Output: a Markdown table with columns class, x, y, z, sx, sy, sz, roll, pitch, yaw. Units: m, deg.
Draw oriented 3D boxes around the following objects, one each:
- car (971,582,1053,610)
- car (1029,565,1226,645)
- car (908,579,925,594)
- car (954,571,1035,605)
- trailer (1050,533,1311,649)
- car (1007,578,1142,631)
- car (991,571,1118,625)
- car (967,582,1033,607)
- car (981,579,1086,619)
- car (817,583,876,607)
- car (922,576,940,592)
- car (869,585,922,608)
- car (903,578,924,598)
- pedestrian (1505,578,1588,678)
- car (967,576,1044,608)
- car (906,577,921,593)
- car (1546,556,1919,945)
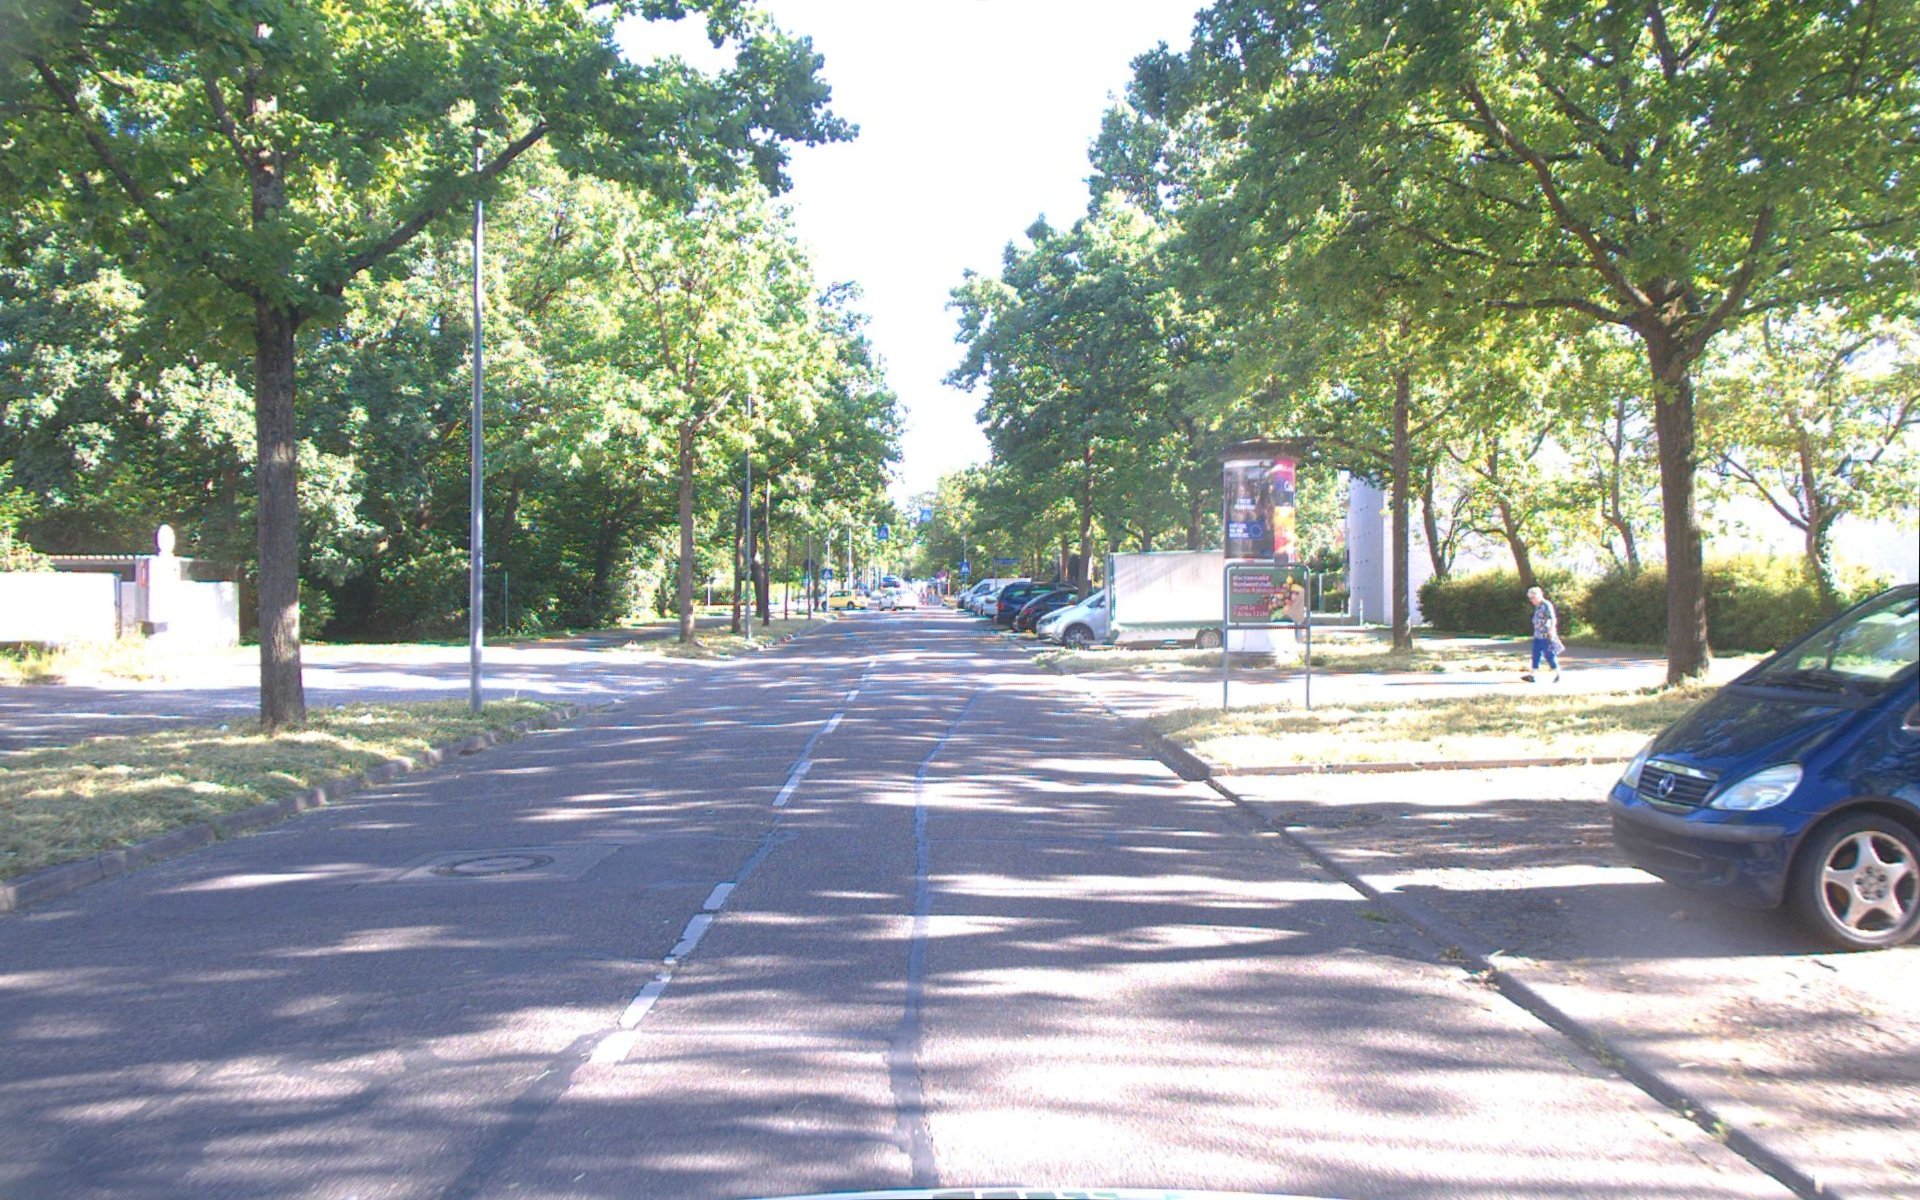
| class | x | y | z | sx | sy | sz | roll | pitch | yaw |
| --- | --- | --- | --- | --- | --- | --- | --- | --- | --- |
| car | 2.790 | -0.213 | 89.397 | 4.355 | 1.414 | 1.910 | -1 | 1 | -2 |
| car | 4.045 | 0.111 | 40.410 | 4.548 | 1.752 | 1.987 | -2 | 1 | -1 |
| car | -5.261 | -1.649 | 199.594 | 1.953 | 1.746 | 3.998 | 0 | 1 | -2 |
| car | 2.195 | -0.765 | 107.295 | 5.084 | 2.142 | 2.081 | -1 | 0 | -3 |
| trailer | 4.953 | -0.203 | 37.603 | 5.656 | 2.358 | 1.686 | -2 | 0 | 0 |
| car | 3.639 | 0.125 | 53.284 | 4.159 | 1.545 | 2.078 | -2 | 1 | -1 |
| car | 3.392 | -0.084 | 59.923 | 4.438 | 1.832 | 1.936 | -2 | 0 | -2 |
| car | 2.379 | -0.316 | 99.526 | 3.905 | 1.458 | 1.901 | 0 | 1 | 0 |
| car | 3.277 | -0.046 | 74.212 | 4.576 | 1.608 | 1.916 | -2 | 1 | -1 |
| car | -8.290 | -0.372 | 120.511 | 3.916 | 1.684 | 1.995 | 0 | 0 | 33 |
| car | -3.214 | -1.734 | 183.903 | 1.953 | 1.746 | 3.998 | 0 | 1 | -2 |
| car | -4.423 | -0.253 | 113.172 | 1.975 | 1.510 | 3.955 | 0 | 0 | -32 |
| car | -4.595 | -1.172 | 163.124 | 1.953 | 1.966 | 3.998 | 0 | 1 | -2 |
| pedestrian | 9.282 | 0.431 | 26.173 | 0.935 | 1.526 | 0.872 | -2 | 1 | -41 |
| car | 2.648 | -0.467 | 96.998 | 4.297 | 1.680 | 1.850 | -2 | 1 | -4 |
| car | -6.030 | -1.912 | 213.390 | 1.953 | 2.003 | 3.998 | 0 | 1 | -2 |
| car | 4.932 | 0.582 | 7.965 | 3.512 | 1.604 | 1.856 | -2 | 0 | -3 |
